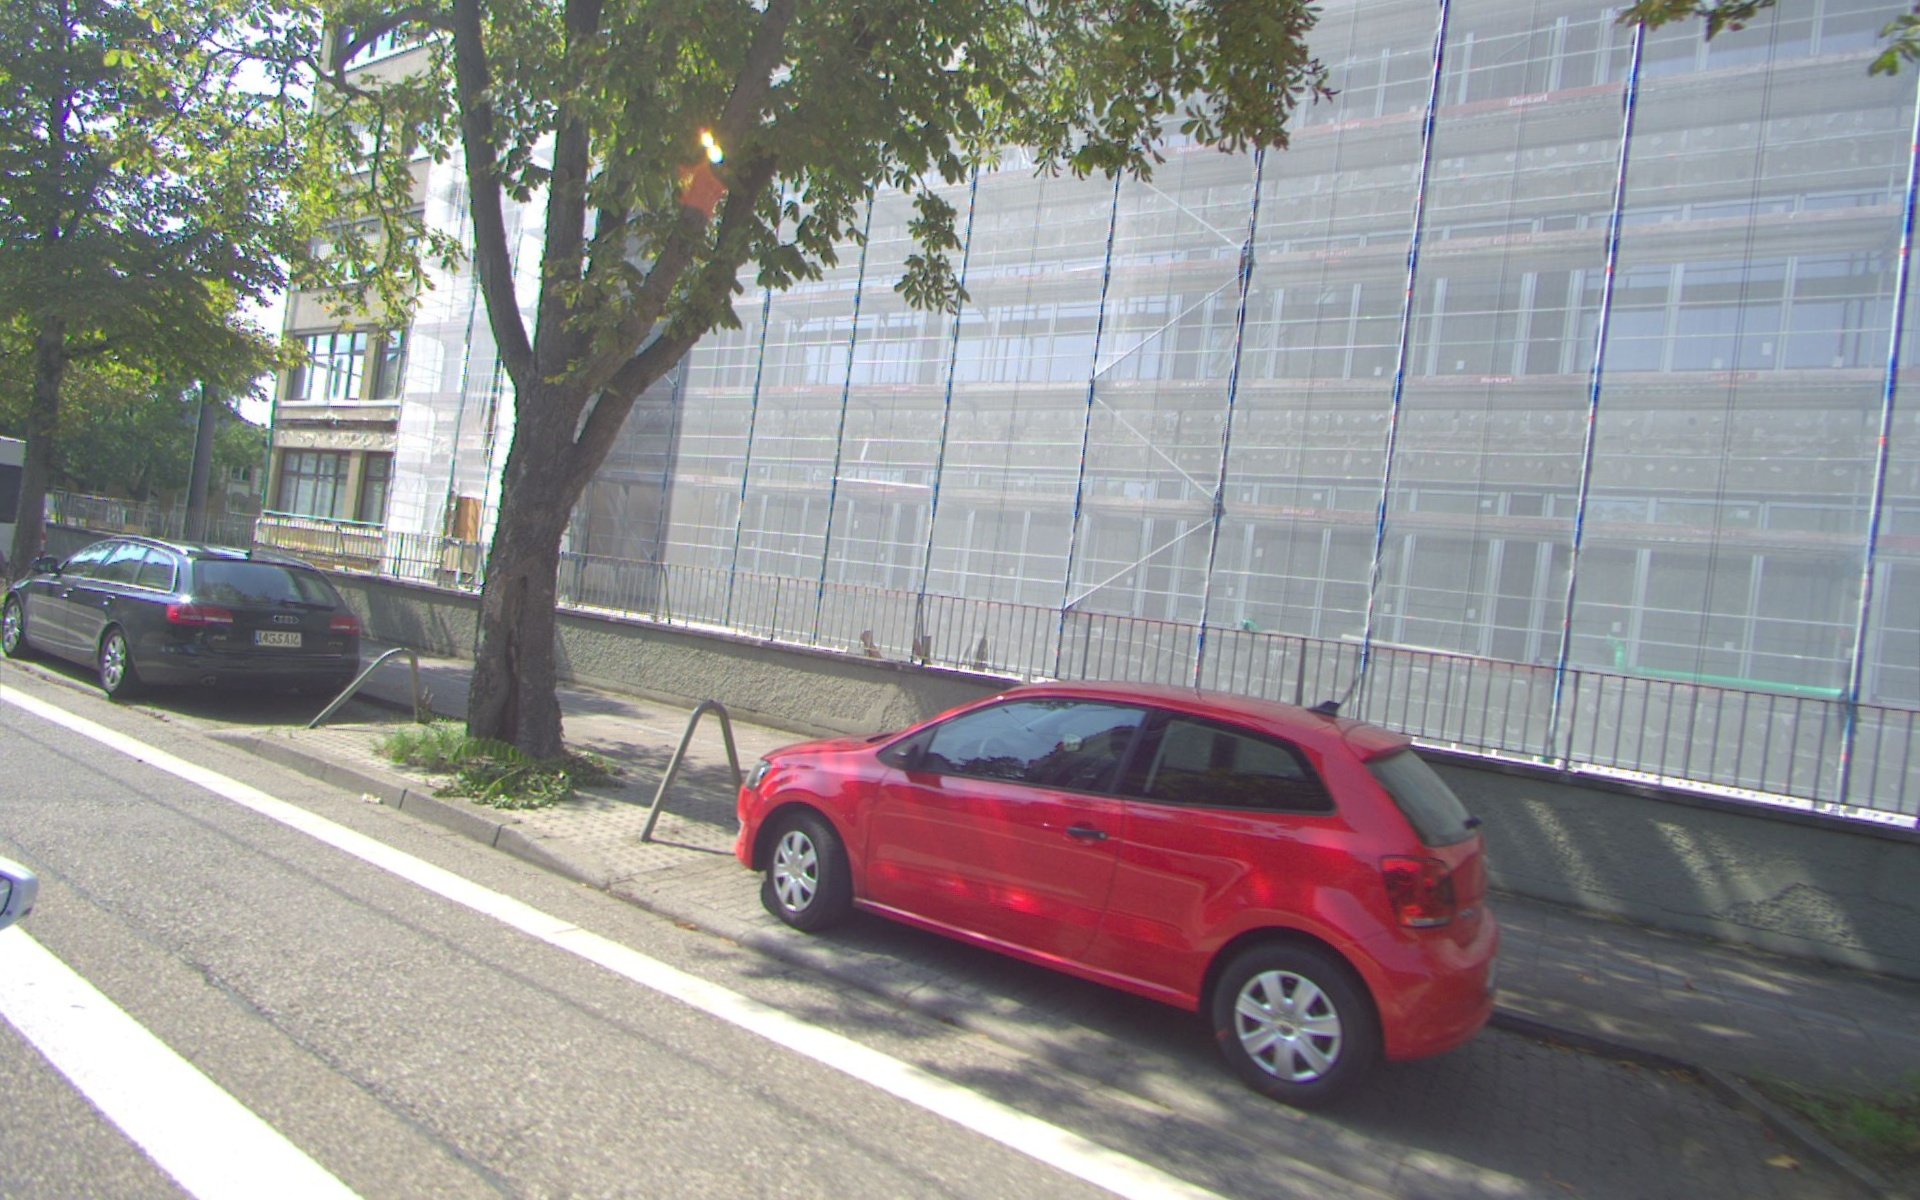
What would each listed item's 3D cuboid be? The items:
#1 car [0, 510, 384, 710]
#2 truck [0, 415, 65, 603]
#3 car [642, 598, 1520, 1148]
[{"bbox_3d":[-8.059,0.045,10.245,4.724,1.457,1.688,6,-2,32],"label":"car"},{"bbox_3d":[-16.296,-1.606,15.528,5.498,2.629,1.921,6,-1,31],"label":"truck"},{"bbox_3d":[0.484,1.010,5.219,4.063,1.518,1.688,6,-2,31],"label":"car"}]
